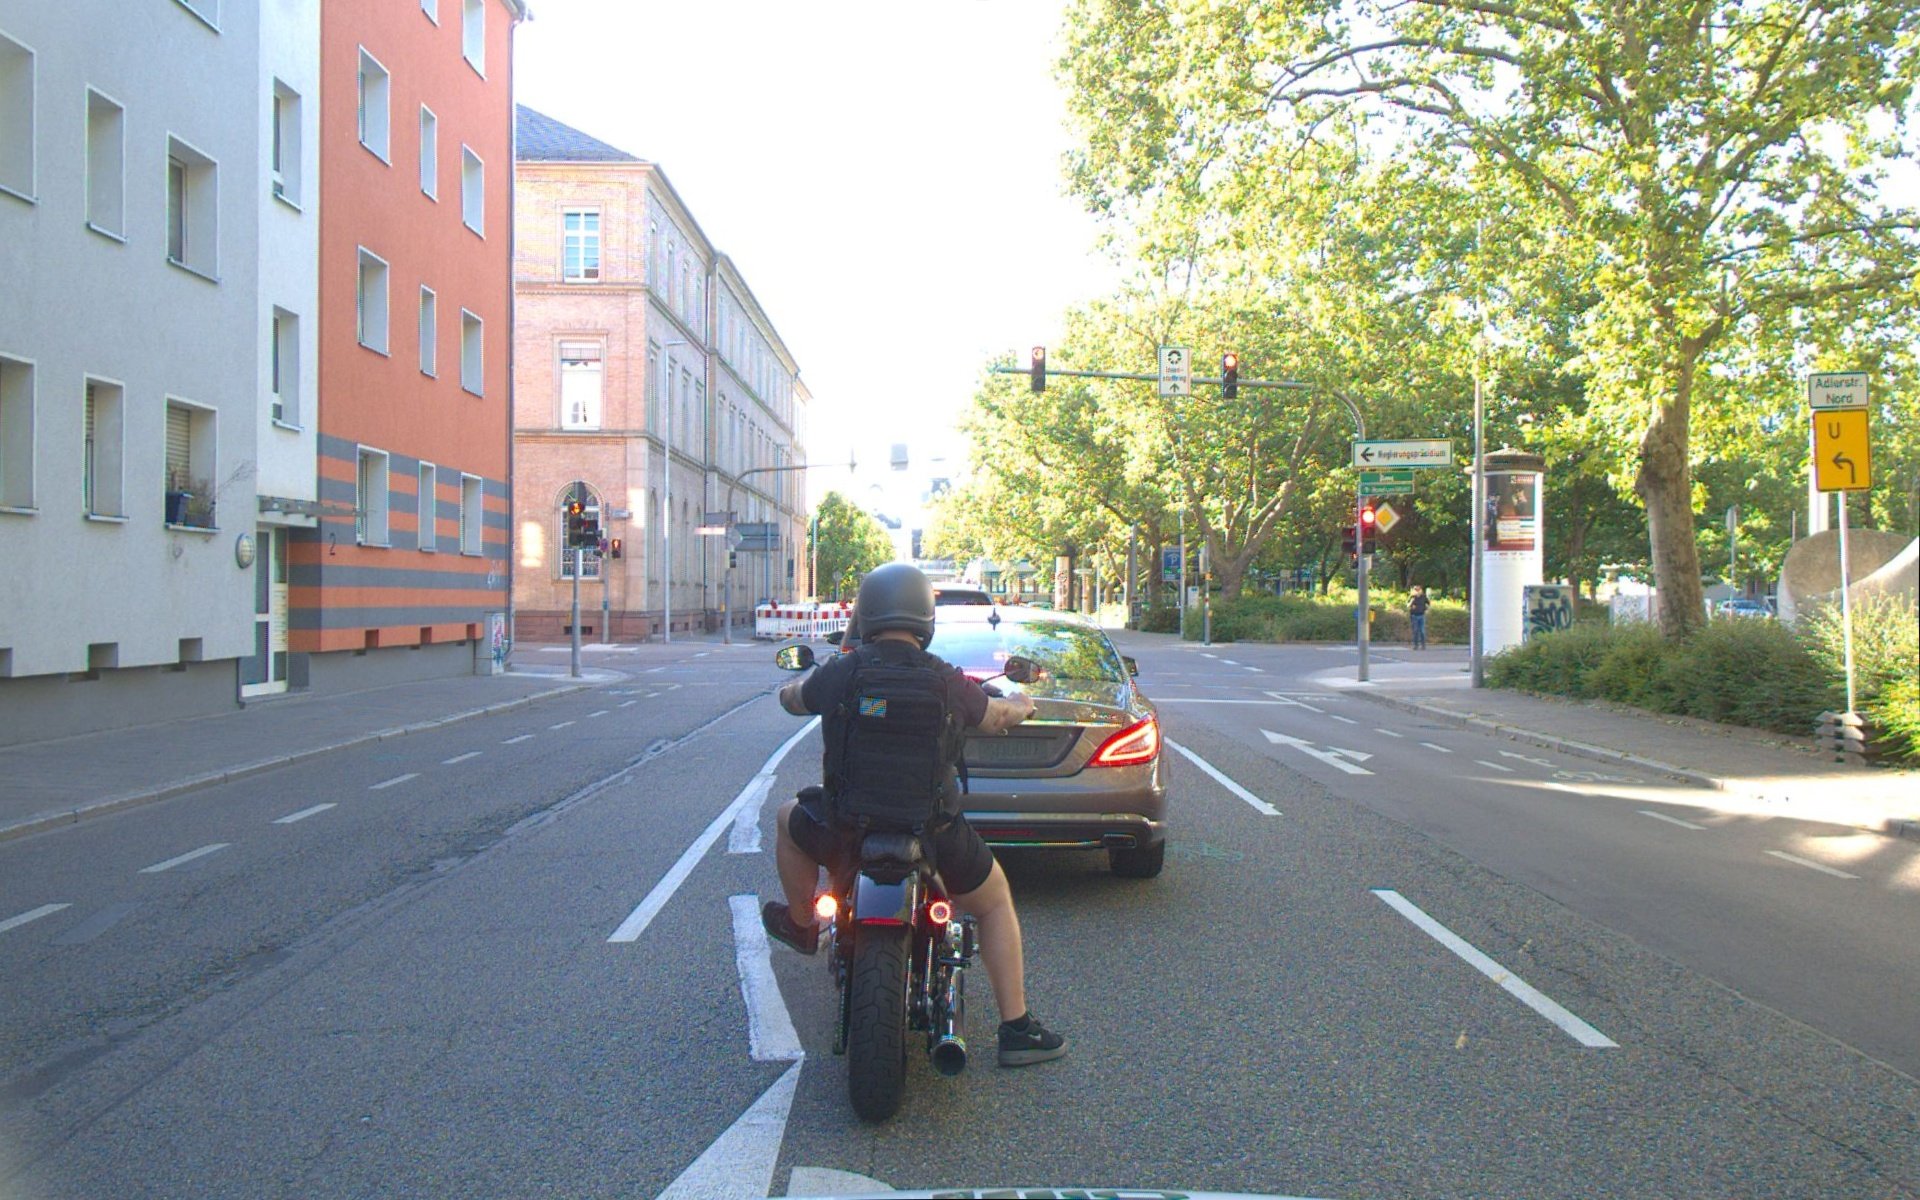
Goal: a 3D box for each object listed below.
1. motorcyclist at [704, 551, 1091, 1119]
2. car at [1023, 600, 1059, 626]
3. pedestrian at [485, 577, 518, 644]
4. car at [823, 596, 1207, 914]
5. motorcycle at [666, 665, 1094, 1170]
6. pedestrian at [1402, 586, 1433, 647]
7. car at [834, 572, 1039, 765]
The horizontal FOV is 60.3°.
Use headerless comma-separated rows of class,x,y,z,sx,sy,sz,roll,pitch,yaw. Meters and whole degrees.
motorcyclist,-0.141,0.667,5.273,1.076,1.593,1.072,1,0,5
car,4.123,0.647,84.683,1.598,1.281,3.715,1,0,-1
pedestrian,-12.911,0.304,46.550,0.723,1.852,0.643,1,-1,-1
car,0.233,0.737,9.666,1.785,1.462,3.805,1,0,-1
motorcycle,-0.129,0.878,5.493,1.094,1.228,2.213,1,0,5
pedestrian,13.714,0.489,49.579,0.722,1.809,0.728,1,-1,29
car,-0.240,0.628,16.938,1.825,1.707,3.999,1,0,-1
